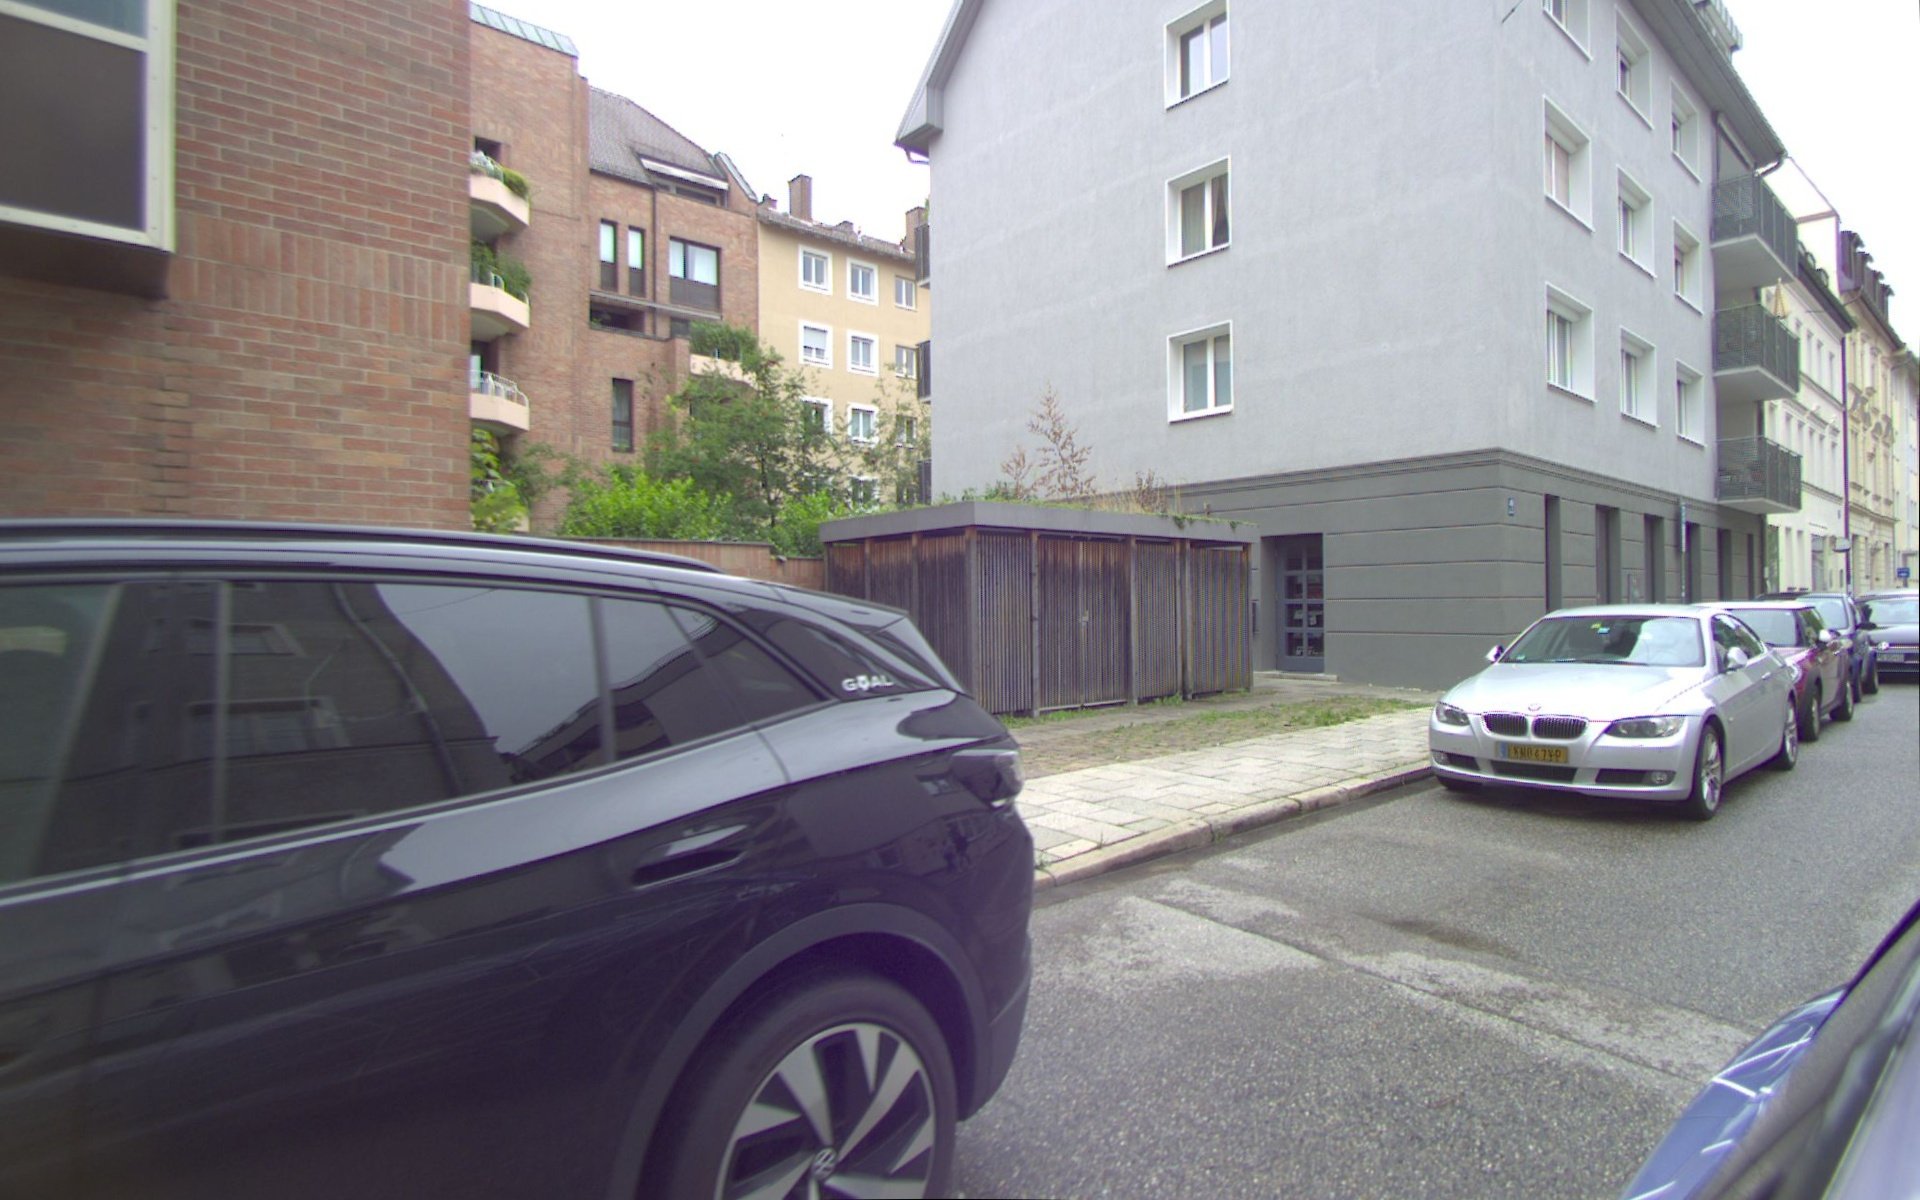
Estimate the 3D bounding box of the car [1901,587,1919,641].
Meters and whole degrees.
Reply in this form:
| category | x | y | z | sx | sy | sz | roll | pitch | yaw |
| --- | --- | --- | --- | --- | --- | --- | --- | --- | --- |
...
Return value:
| category | x | y | z | sx | sy | sz | roll | pitch | yaw |
| --- | --- | --- | --- | --- | --- | --- | --- | --- | --- |
| car | 27.068 | 0.349 | 27.518 | 4.274 | 1.403 | 1.802 | -1 | 0 | -42 |

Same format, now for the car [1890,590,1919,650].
| category | x | y | z | sx | sy | sz | roll | pitch | yaw |
| --- | --- | --- | --- | --- | --- | --- | --- | --- | --- |
| car | 23.907 | 0.441 | 24.355 | 3.876 | 1.380 | 1.811 | -1 | 0 | -41 |

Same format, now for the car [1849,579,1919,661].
| category | x | y | z | sx | sy | sz | roll | pitch | yaw |
| --- | --- | --- | --- | --- | --- | --- | --- | --- | --- |
| car | 19.998 | 0.367 | 21.052 | 4.244 | 1.590 | 1.877 | -1 | 1 | -43 |

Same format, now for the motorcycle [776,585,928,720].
| category | x | y | z | sx | sy | sz | roll | pitch | yaw |
| --- | --- | --- | --- | --- | --- | --- | --- | --- | --- |
| motorcycle | -1.284 | 0.526 | 11.445 | 0.540 | 1.360 | 2.523 | -1 | 1 | -35 |

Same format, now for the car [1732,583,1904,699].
| category | x | y | z | sx | sy | sz | roll | pitch | yaw |
| --- | --- | --- | --- | --- | --- | --- | --- | --- | --- |
| car | 12.760 | 0.545 | 15.005 | 3.148 | 1.531 | 1.523 | -1 | -1 | -42 |

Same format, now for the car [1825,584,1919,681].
| category | x | y | z | sx | sy | sz | roll | pitch | yaw |
| --- | --- | --- | --- | --- | --- | --- | --- | --- | --- |
| car | 16.747 | 0.503 | 17.760 | 4.220 | 1.548 | 1.841 | -1 | -1 | -42 |

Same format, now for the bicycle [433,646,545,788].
| category | x | y | z | sx | sy | sz | roll | pitch | yaw |
| --- | --- | --- | --- | --- | --- | --- | --- | --- | --- |
| bicycle | -3.449 | 0.807 | 7.359 | 0.406 | 0.870 | 1.318 | -1 | 1 | -40 |

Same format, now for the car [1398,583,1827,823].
| category | x | y | z | sx | sy | sz | roll | pitch | yaw |
| --- | --- | --- | --- | --- | --- | --- | --- | --- | --- |
| car | 5.514 | 0.613 | 8.279 | 4.522 | 1.435 | 1.838 | -1 | -1 | -42 |

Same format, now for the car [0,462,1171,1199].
| category | x | y | z | sx | sy | sz | roll | pitch | yaw |
| --- | --- | --- | --- | --- | --- | --- | --- | --- | --- |
| car | -1.670 | 0.651 | 1.851 | 4.318 | 1.575 | 1.887 | -1 | -1 | -43 |

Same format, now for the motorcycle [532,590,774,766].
| category | x | y | z | sx | sy | sz | roll | pitch | yaw |
| --- | --- | --- | --- | --- | --- | --- | --- | --- | --- |
| motorcycle | -2.604 | 0.605 | 8.666 | 1.902 | 1.361 | 0.542 | -1 | 0 | -30 |

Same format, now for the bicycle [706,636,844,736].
| category | x | y | z | sx | sy | sz | roll | pitch | yaw |
| --- | --- | --- | --- | --- | --- | --- | --- | --- | --- |
| bicycle | -1.799 | 0.815 | 9.935 | 1.296 | 0.870 | 0.375 | -1 | 0 | -38 |

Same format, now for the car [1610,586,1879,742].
| category | x | y | z | sx | sy | sz | roll | pitch | yaw |
| --- | --- | --- | --- | --- | --- | --- | --- | --- | --- |
| car | 9.120 | 0.604 | 11.642 | 4.079 | 1.480 | 1.747 | -1 | -1 | -42 |
